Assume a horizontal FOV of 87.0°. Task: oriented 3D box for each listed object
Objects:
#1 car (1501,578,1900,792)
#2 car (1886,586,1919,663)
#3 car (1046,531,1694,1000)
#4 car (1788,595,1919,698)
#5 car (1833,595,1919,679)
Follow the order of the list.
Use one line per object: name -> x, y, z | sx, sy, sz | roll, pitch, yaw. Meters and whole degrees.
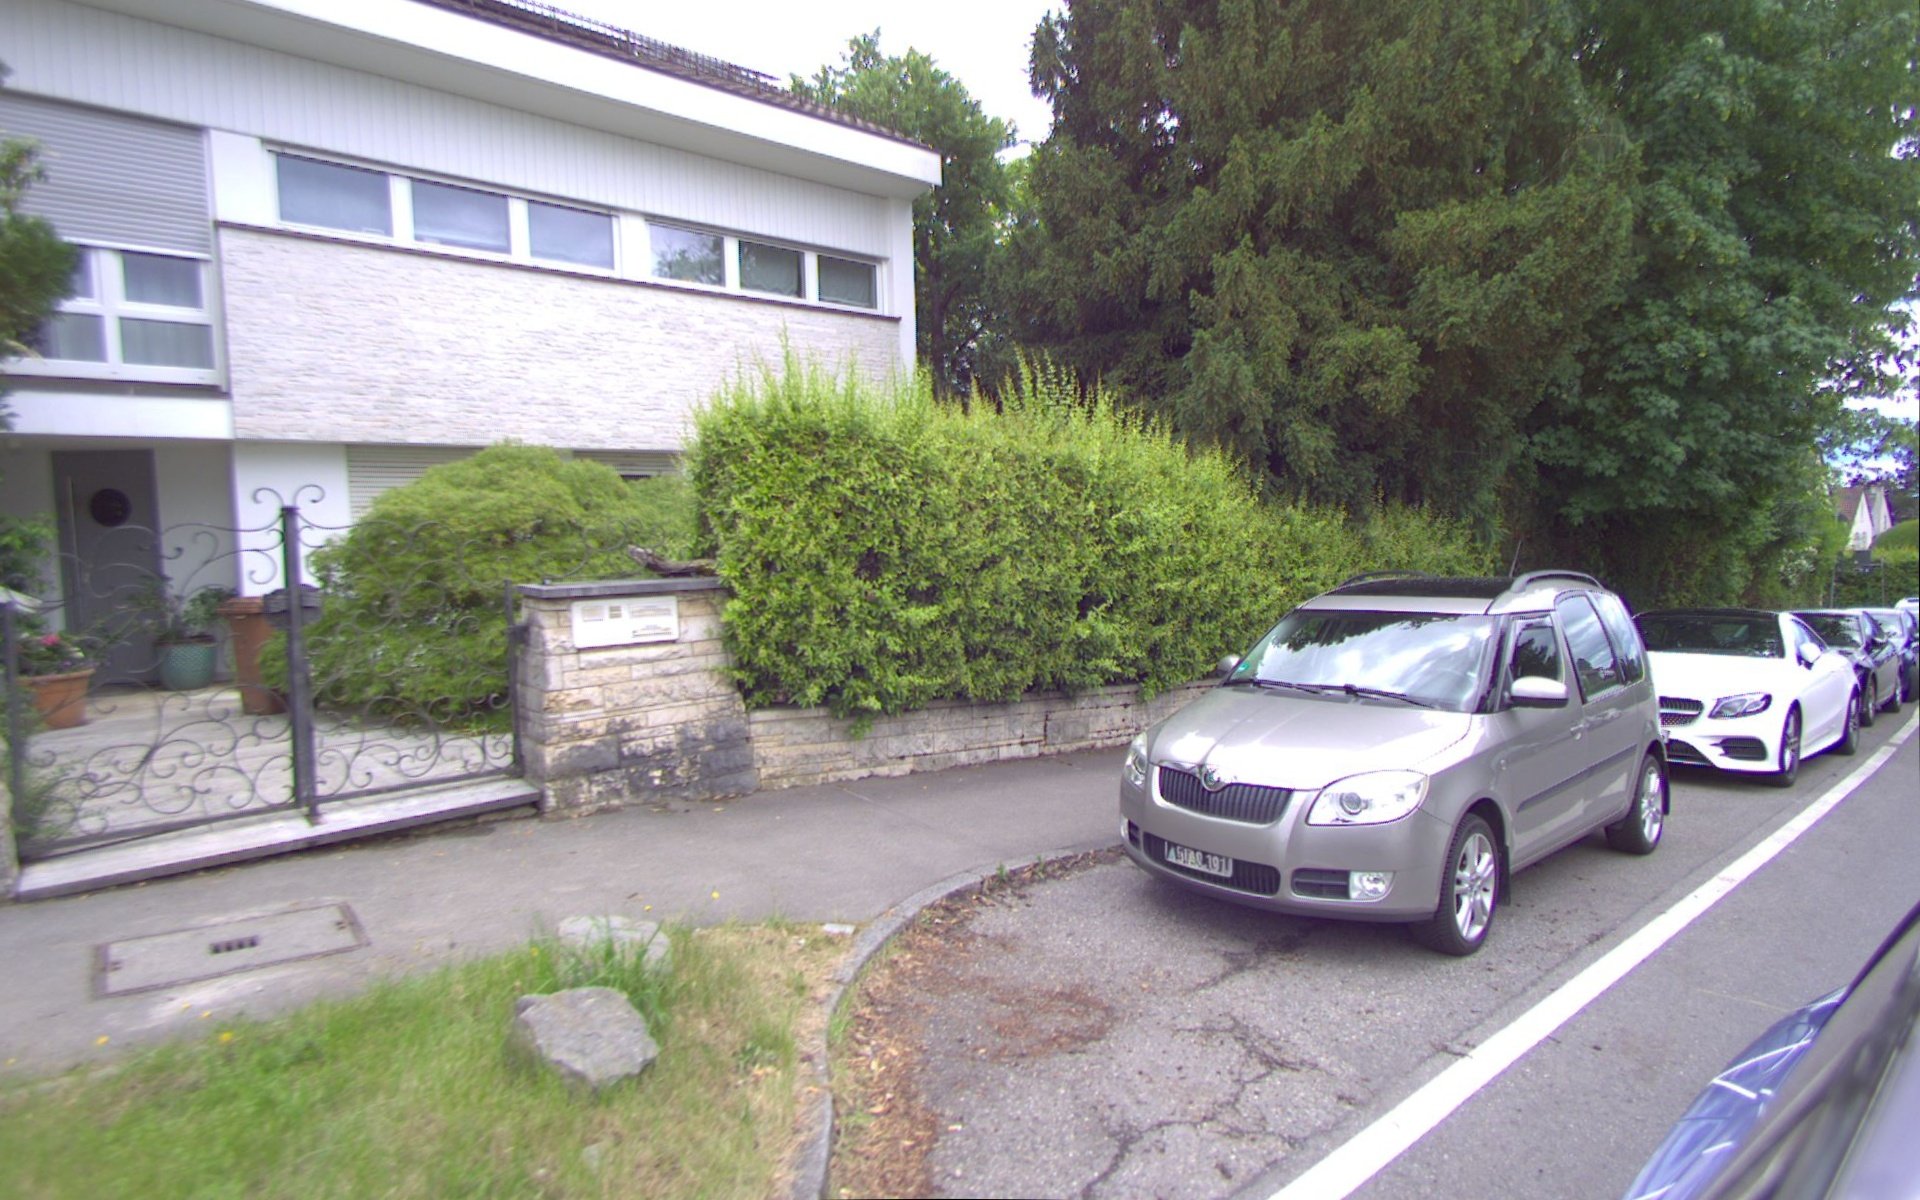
car -> 7.359, 0.619, 9.837 | 4.916, 1.510, 1.998 | 0, 3, -40
car -> 22.528, 0.547, 22.992 | 2.002, 1.628, 4.682 | 4, 3, 44
car -> 2.424, 0.565, 5.497 | 3.860, 1.653, 1.720 | 0, 0, -41
car -> 15.305, 0.681, 16.841 | 4.087, 1.527, 1.700 | 0, 0, -41
car -> 18.847, 0.681, 20.221 | 1.811, 1.470, 4.308 | 4, 3, 44
